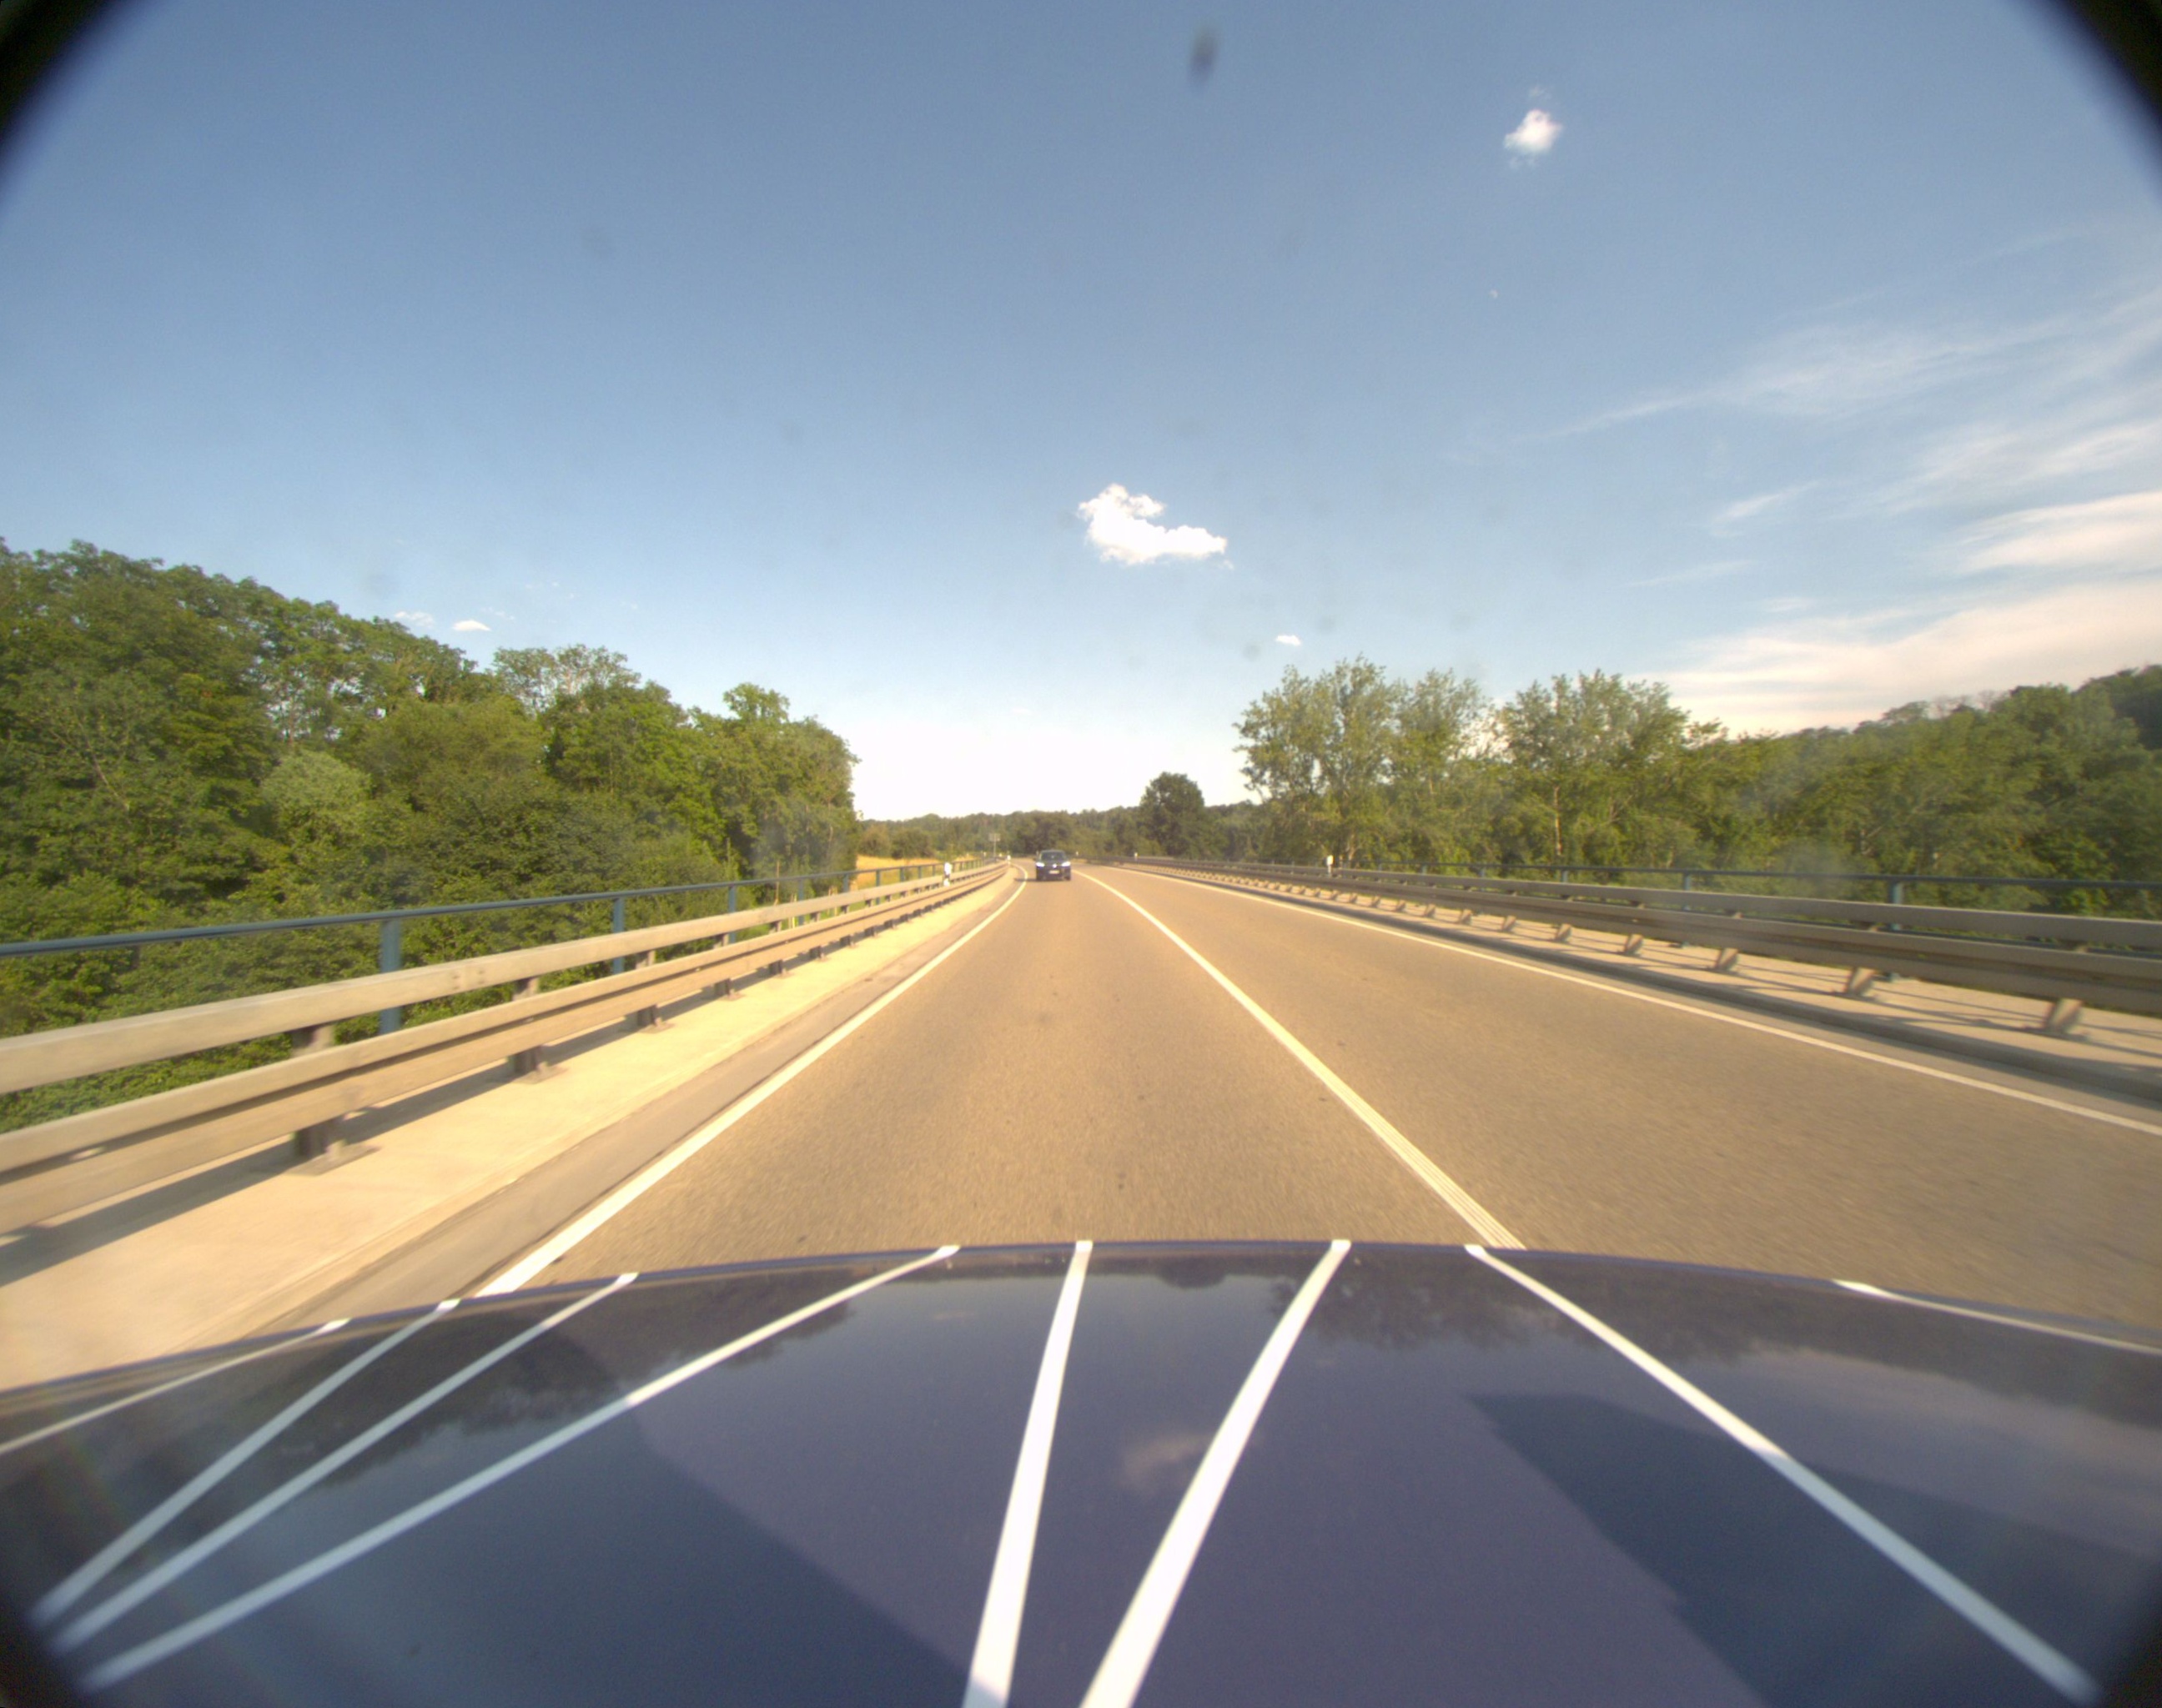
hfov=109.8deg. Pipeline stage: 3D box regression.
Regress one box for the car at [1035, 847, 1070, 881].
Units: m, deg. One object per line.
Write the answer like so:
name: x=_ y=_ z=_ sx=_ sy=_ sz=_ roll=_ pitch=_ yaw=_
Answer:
car: x=-1.514 y=0.506 z=41.040 sx=1.751 sy=1.645 sz=4.304 roll=-1 pitch=1 yaw=-2
